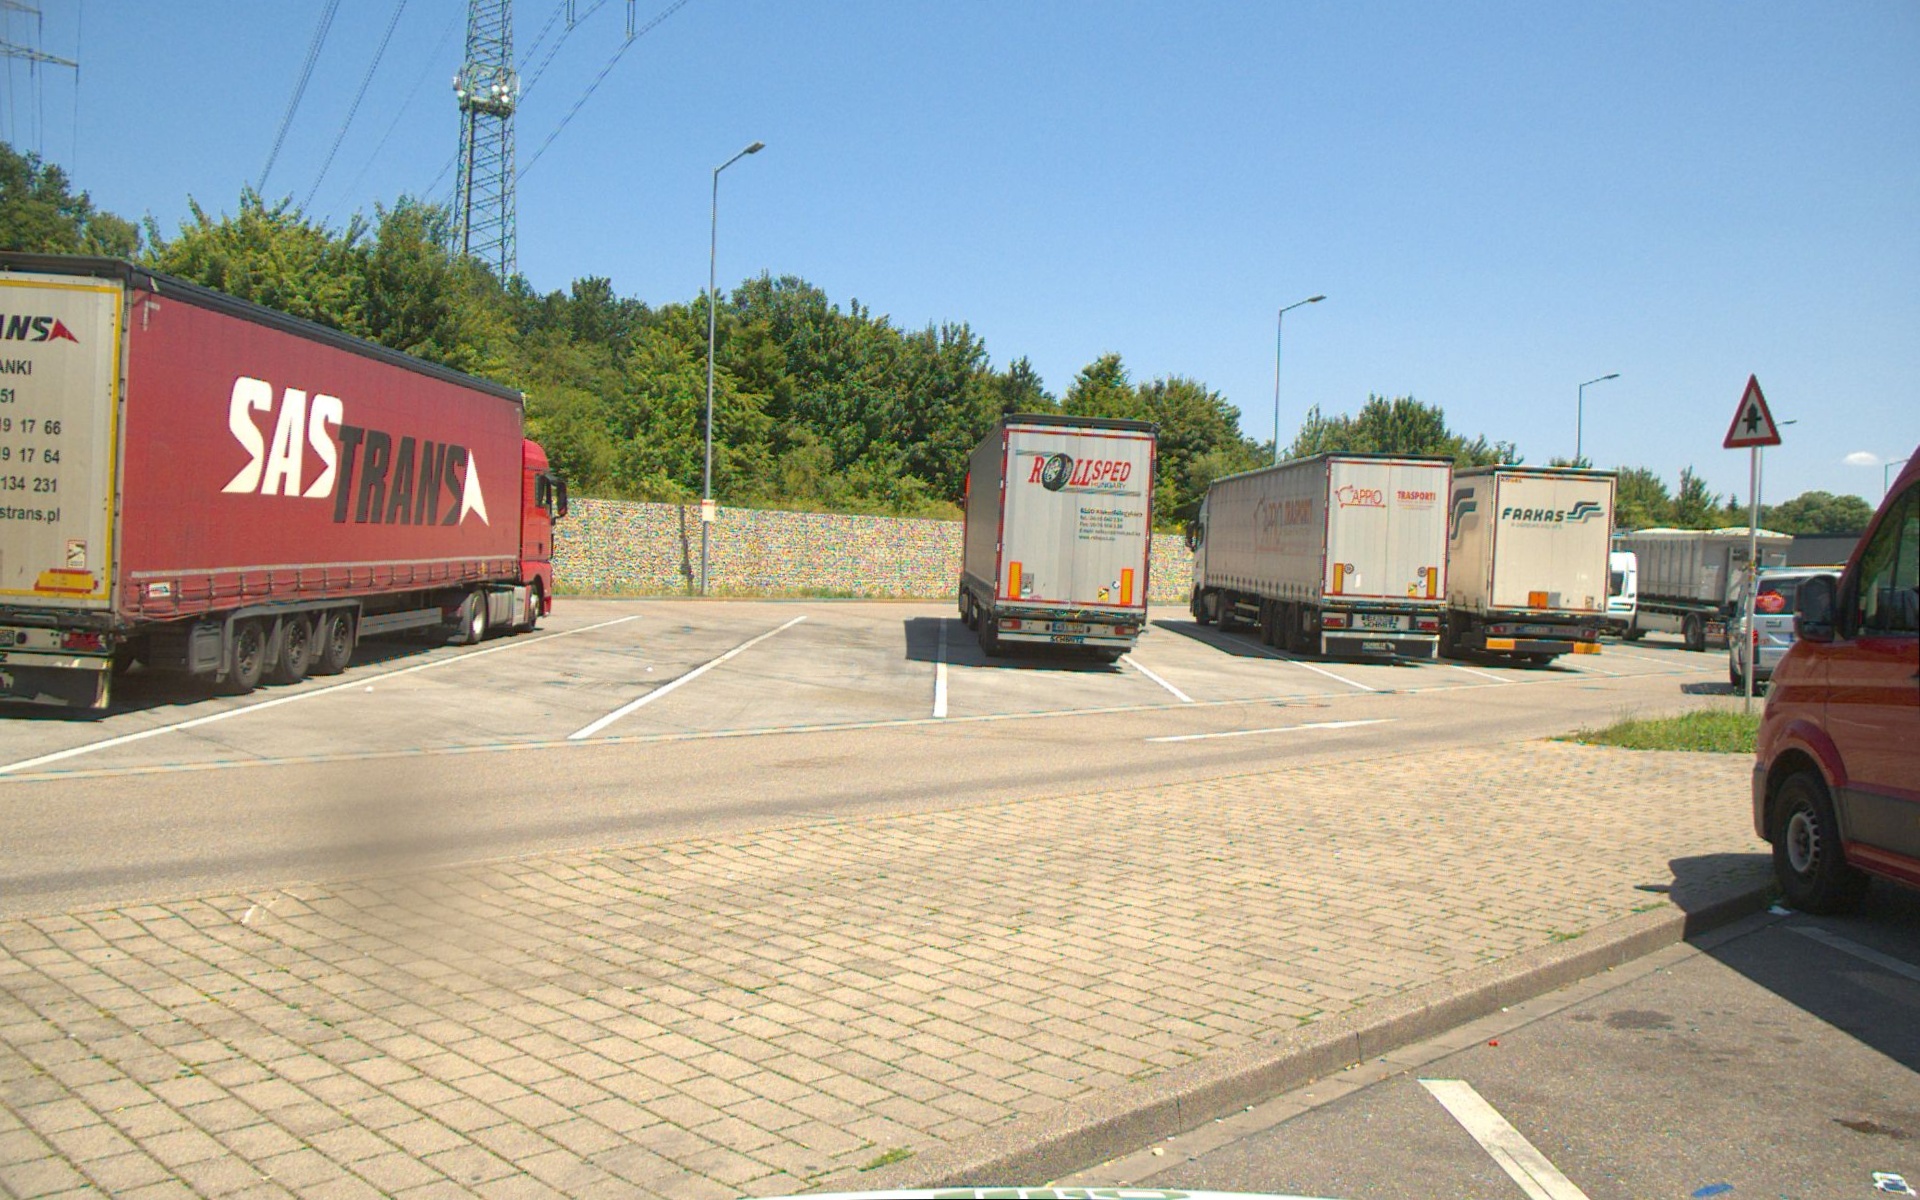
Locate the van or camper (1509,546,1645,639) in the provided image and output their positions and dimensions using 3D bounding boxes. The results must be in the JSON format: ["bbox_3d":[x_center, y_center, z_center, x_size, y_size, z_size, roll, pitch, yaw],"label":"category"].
[{"bbox_3d":[18.388,-0.255,49.587,2.061,2.606,5.372,1,1,0],"label":"van or camper"}]

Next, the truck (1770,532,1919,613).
[{"bbox_3d":[34.686,-1.060,63.651,2.082,2.869,9.777,1,1,-1],"label":"truck"}]

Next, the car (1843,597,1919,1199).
[{"bbox_3d":[2.534,0.797,1.122,1.584,1.509,3.762,1,1,-6],"label":"car"}]

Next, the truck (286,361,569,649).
[{"bbox_3d":[-8.708,-1.529,27.885,2.641,4.184,6.239,2,2,0],"label":"truck"}]

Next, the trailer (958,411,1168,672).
[{"bbox_3d":[1.643,-1.237,33.679,2.809,4.107,14.238,2,2,-2],"label":"trailer"}]

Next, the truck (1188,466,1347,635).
[{"bbox_3d":[8.153,-1.382,44.746,2.808,4.107,6.956,2,2,-1],"label":"truck"}]

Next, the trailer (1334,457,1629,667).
[{"bbox_3d":[11.810,-1.020,39.233,2.808,4.107,12.438,2,2,-1],"label":"trailer"}]

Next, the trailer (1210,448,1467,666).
[{"bbox_3d":[8.234,-1.086,38.115,2.808,4.107,12.438,2,2,-1],"label":"trailer"}]

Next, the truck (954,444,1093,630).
[{"bbox_3d":[1.411,-1.564,40.760,2.809,4.107,7.026,2,2,-2],"label":"truck"}]

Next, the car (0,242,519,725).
[{"bbox_3d":[-8.685,-1.280,20.968,2.641,4.184,12.935,2,2,0],"label":"car"}]

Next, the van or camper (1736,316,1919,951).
[{"bbox_3d":[4.983,0.177,5.569,1.954,2.700,6.482,1,1,3],"label":"van or camper"}]

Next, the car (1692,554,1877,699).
[{"bbox_3d":[13.829,0.360,28.049,1.952,2.187,5.316,1,1,17],"label":"car"}]

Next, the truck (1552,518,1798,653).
[{"bbox_3d":[21.734,-0.643,51.257,2.437,3.630,11.423,2,2,-1],"label":"truck"}]

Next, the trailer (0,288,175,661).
[{"bbox_3d":[-12.555,-1.406,17.168,2.756,4.341,12.940,2,2,-1],"label":"trailer"}]
